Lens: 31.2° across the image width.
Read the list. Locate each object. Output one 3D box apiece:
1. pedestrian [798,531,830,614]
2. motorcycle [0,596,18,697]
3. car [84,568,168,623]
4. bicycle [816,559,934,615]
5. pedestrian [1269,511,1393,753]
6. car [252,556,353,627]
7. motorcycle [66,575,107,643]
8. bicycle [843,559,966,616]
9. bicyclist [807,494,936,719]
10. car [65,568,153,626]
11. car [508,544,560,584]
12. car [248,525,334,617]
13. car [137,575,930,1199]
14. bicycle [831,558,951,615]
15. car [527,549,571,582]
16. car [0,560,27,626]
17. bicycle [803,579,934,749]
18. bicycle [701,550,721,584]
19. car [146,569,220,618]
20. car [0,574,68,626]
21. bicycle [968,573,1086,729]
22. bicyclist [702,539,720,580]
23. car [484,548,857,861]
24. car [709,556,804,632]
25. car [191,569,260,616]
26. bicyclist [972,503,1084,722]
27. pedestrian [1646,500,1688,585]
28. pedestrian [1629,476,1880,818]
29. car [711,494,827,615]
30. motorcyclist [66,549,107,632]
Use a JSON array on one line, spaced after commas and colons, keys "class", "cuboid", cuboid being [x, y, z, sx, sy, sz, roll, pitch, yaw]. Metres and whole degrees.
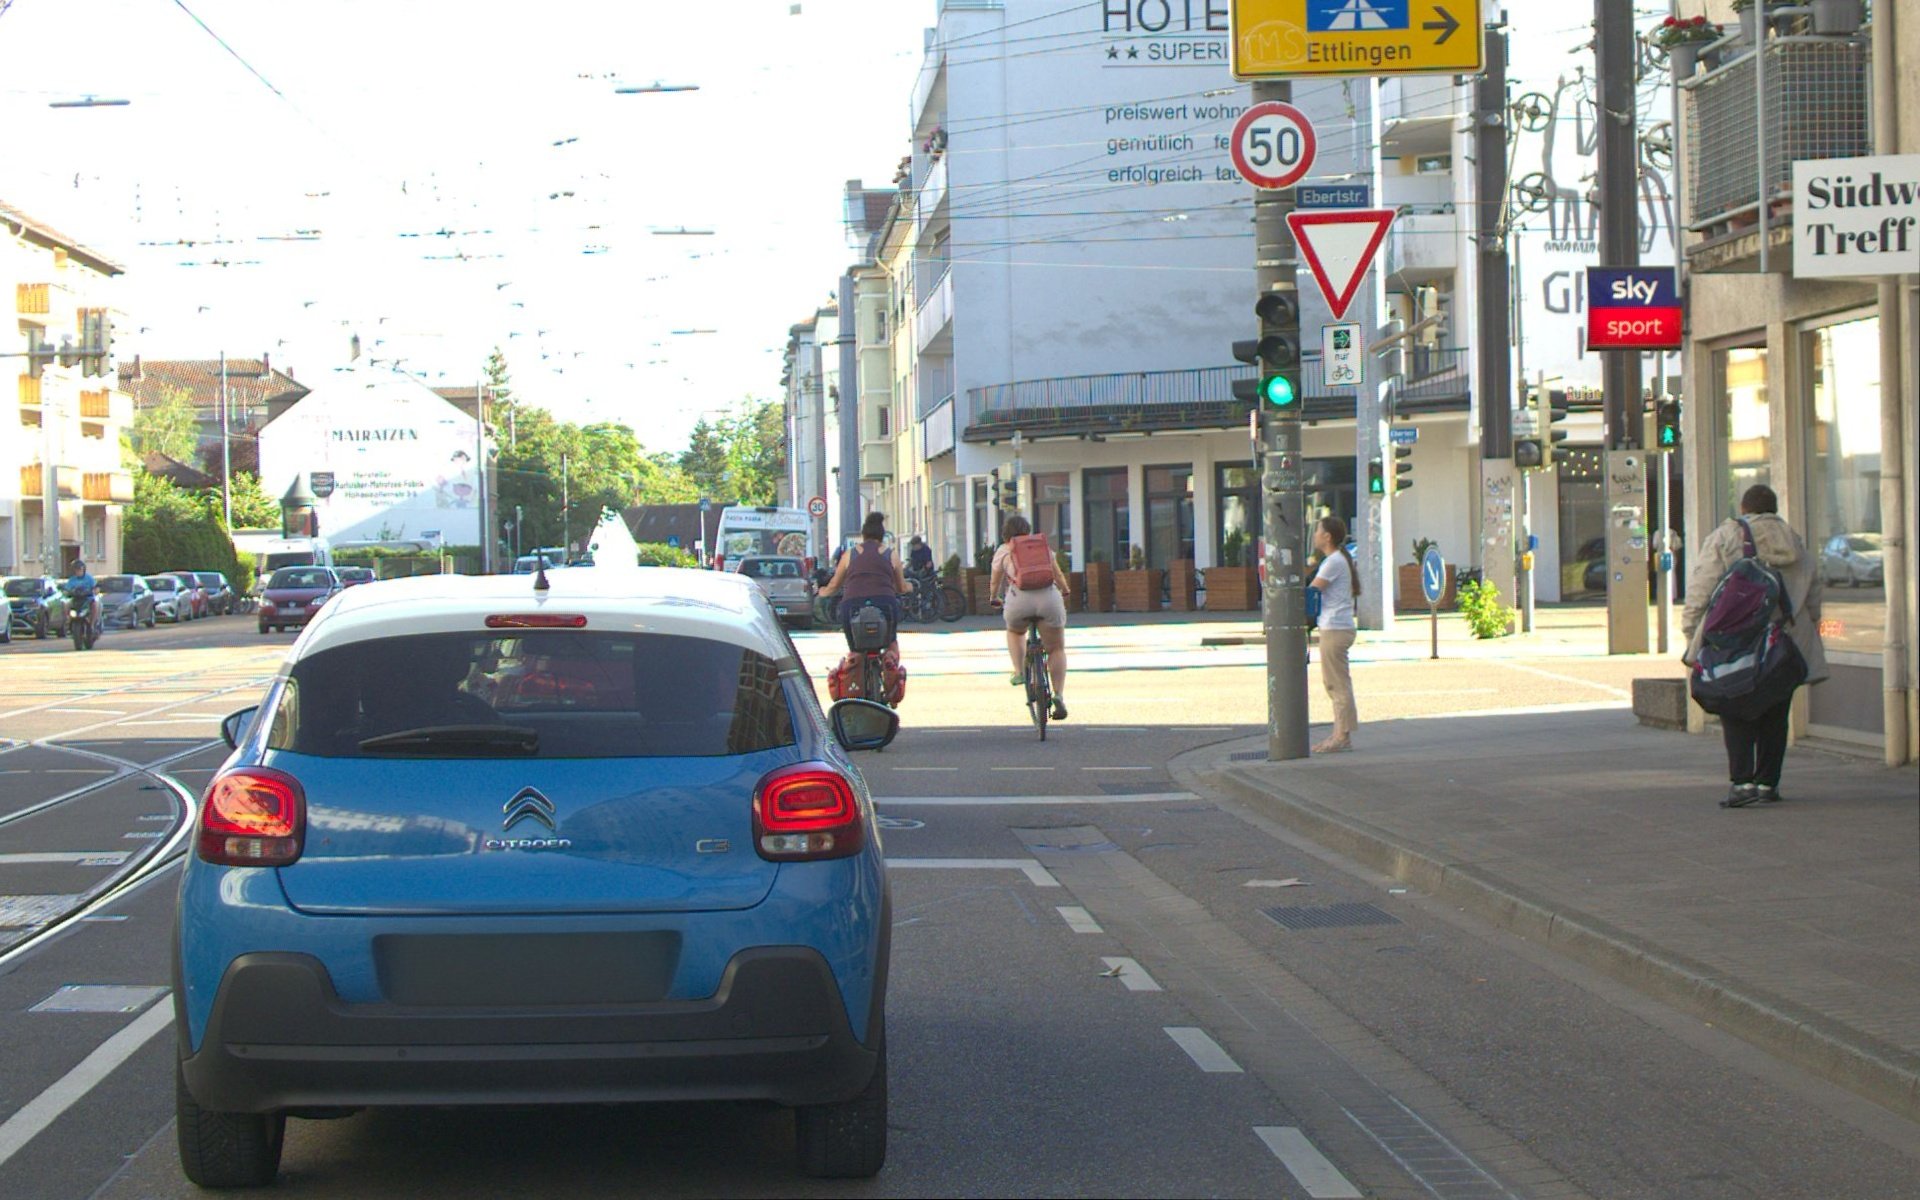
[{"class": "pedestrian", "cuboid": [-2.944, -0.556, 69.213, 0.613, 1.648, 0.671, 1, 0, -2]}, {"class": "motorcycle", "cuboid": [-10.893, 0.469, 36.002, 1.939, 1.043, 0.856, 1, 0, 31]}, {"class": "car", "cuboid": [-24.857, -0.142, 102.586, 1.869, 1.571, 4.001, 1, 0, -6]}, {"class": "bicycle", "cuboid": [-1.698, -0.260, 68.116, 2.251, 0.998, 0.856, -3, 1, -5]}, {"class": "pedestrian", "cuboid": [2.584, 0.219, 23.899, 0.540, 1.618, 0.732, -6, -2, 22]}, {"class": "car", "cuboid": [-14.518, -0.207, 76.088, 1.778, 1.481, 3.829, -2, 1, -5]}, {"class": "motorcycle", "cuboid": [-16.086, 0.172, 63.322, 0.711, 1.216, 1.966, -1, -1, -14]}, {"class": "bicycle", "cuboid": [-1.062, -0.239, 65.649, 2.251, 0.998, 0.856, -3, 1, -5]}, {"class": "bicyclist", "cuboid": [-0.674, 0.045, 26.125, 0.940, 1.667, 1.079, 1, 0, -1]}, {"class": "car", "cuboid": [-24.245, -0.099, 98.060, 1.869, 1.571, 4.001, 1, 0, -6]}, {"class": "car", "cuboid": [-21.017, -1.788, 169.890, 2.218, 1.925, 4.950, 1, 0, -3]}, {"class": "car", "cuboid": [-23.117, -1.000, 118.931, 2.417, 3.131, 3.489, 1, 0, -3]}, {"class": "car", "cuboid": [-1.250, 0.664, 9.409, 1.736, 1.447, 3.663, 0, 1, -10]}, {"class": "bicycle", "cuboid": [-1.347, -0.263, 67.017, 2.251, 0.998, 0.856, -3, 1, -5]}, {"class": "car", "cuboid": [-22.435, -1.868, 187.752, 2.074, 1.756, 5.037, 1, 0, -3]}, {"class": "car", "cuboid": [-22.896, -0.181, 79.448, 1.741, 1.521, 4.230, 1, 0, -4]}, {"class": "bicycle", "cuboid": [-0.693, 0.462, 26.171, 0.940, 1.219, 2.095, 1, 0, -1]}, {"class": "bicycle", "cuboid": [-12.422, -1.659, 171.520, 0.791, 1.664, 2.230, 1, 0, 1]}, {"class": "car", "cuboid": [-25.389, -0.223, 112.407, 1.869, 1.571, 4.001, 1, 0, -6]}, {"class": "car", "cuboid": [-23.704, -0.009, 86.009, 1.946, 1.235, 4.283, 1, 0, -5]}, {"class": "bicycle", "cuboid": [0.550, 0.378, 27.252, 0.811, 1.177, 2.064, 1, 0, 4]}, {"class": "bicyclist", "cuboid": [-12.417, -2.007, 171.520, 0.791, 2.018, 0.986, 1, 0, 1]}, {"class": "car", "cuboid": [-1.698, 0.502, 19.027, 1.784, 1.516, 3.763, 1, 1, -9]}, {"class": "car", "cuboid": [-4.028, -0.138, 67.572, 1.657, 1.426, 3.889, 1, 0, -6]}, {"class": "car", "cuboid": [-25.394, -0.272, 118.930, 1.869, 1.571, 4.001, 1, 0, -6]}, {"class": "bicyclist", "cuboid": [0.547, 0.090, 27.152, 0.811, 1.686, 0.935, 1, 0, 4]}, {"class": "pedestrian", "cuboid": [13.399, -1.088, 65.168, 0.610, 1.603, 0.668, 1, 0, 27]}, {"class": "pedestrian", "cuboid": [3.889, 0.214, 16.874, 0.884, 1.586, 0.811, -4, 2, -8]}, {"class": "car", "cuboid": [-4.077, -0.959, 72.673, 2.265, 2.473, 5.009, 0, 1, -5]}, {"class": "motorcyclist", "cuboid": [-16.096, -0.174, 63.360, 0.693, 1.491, 0.684, -1, -1, -14]}]
